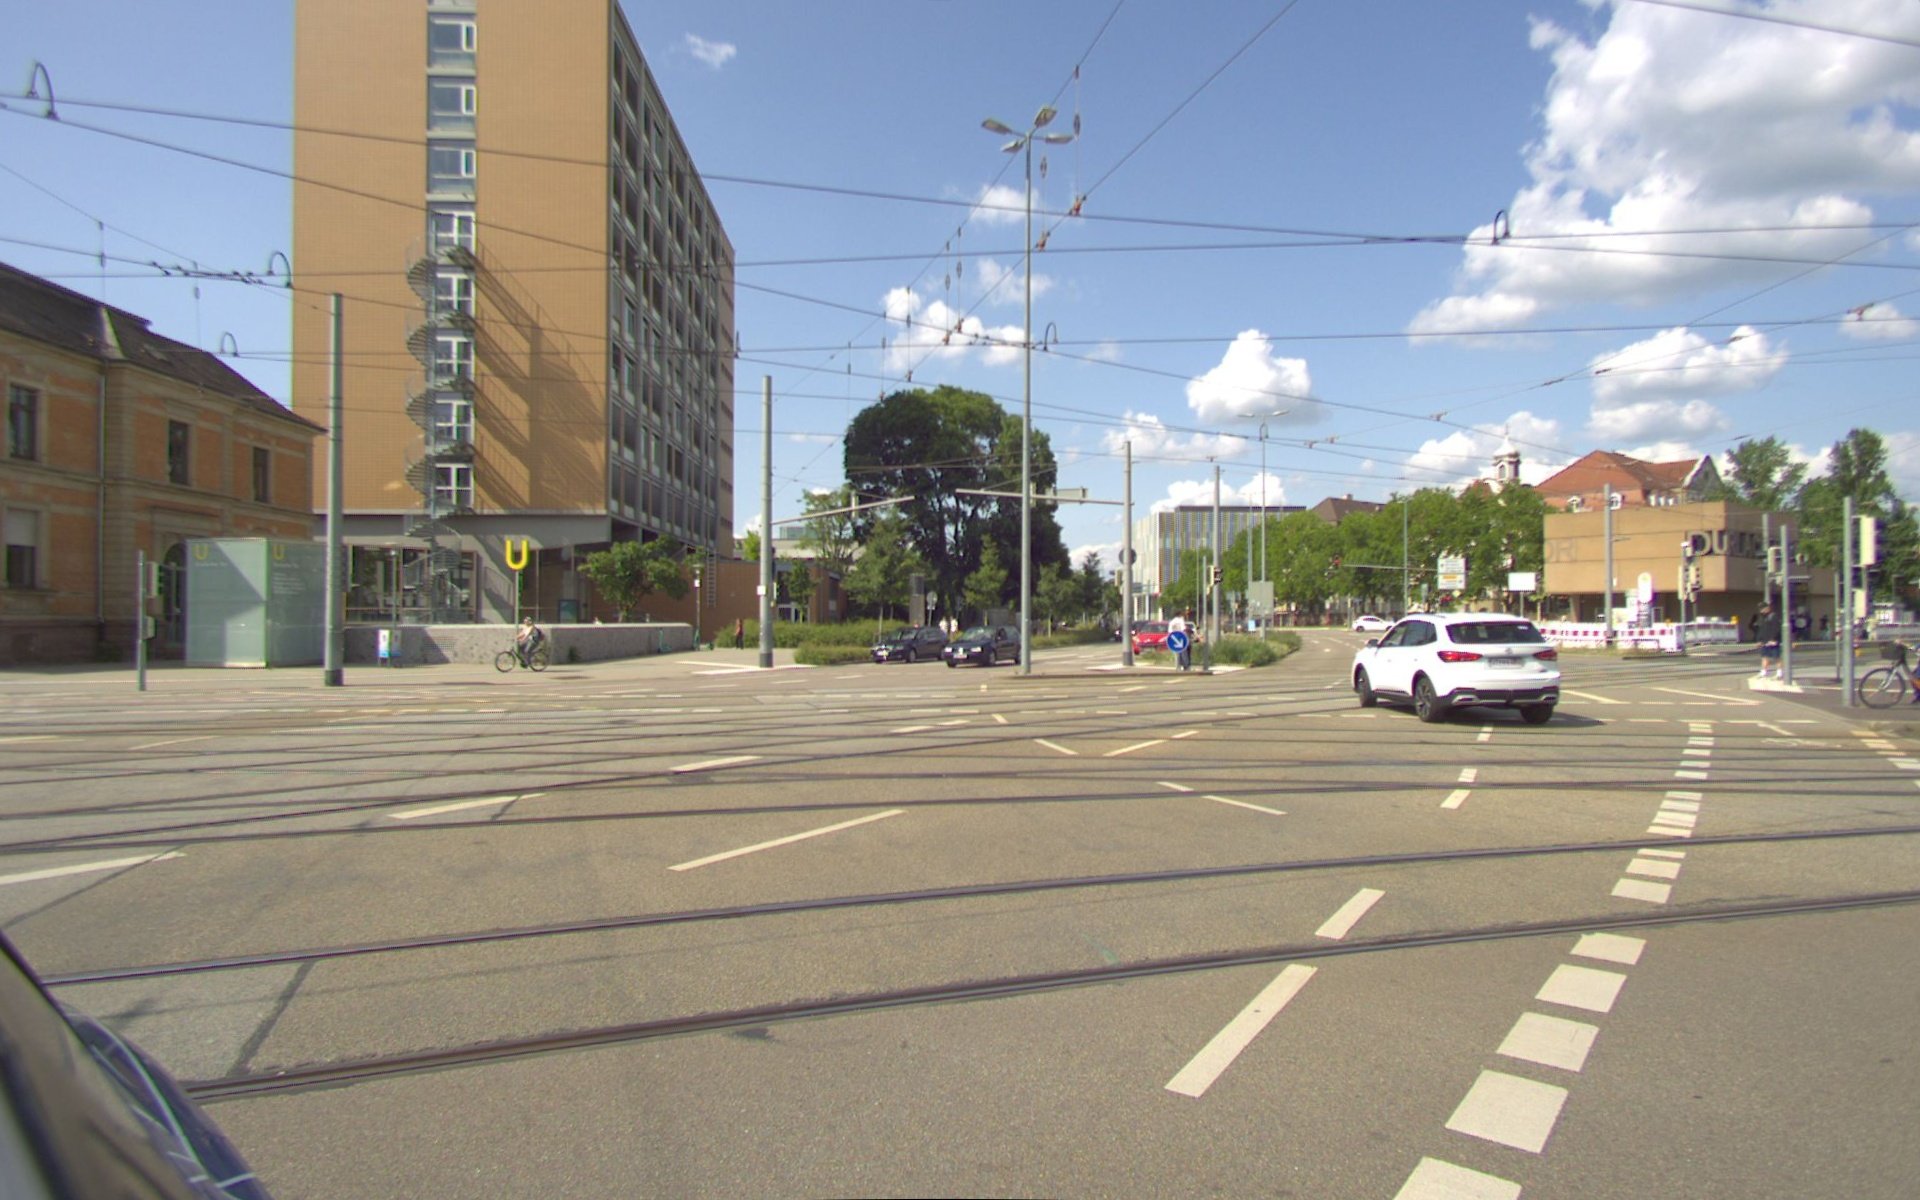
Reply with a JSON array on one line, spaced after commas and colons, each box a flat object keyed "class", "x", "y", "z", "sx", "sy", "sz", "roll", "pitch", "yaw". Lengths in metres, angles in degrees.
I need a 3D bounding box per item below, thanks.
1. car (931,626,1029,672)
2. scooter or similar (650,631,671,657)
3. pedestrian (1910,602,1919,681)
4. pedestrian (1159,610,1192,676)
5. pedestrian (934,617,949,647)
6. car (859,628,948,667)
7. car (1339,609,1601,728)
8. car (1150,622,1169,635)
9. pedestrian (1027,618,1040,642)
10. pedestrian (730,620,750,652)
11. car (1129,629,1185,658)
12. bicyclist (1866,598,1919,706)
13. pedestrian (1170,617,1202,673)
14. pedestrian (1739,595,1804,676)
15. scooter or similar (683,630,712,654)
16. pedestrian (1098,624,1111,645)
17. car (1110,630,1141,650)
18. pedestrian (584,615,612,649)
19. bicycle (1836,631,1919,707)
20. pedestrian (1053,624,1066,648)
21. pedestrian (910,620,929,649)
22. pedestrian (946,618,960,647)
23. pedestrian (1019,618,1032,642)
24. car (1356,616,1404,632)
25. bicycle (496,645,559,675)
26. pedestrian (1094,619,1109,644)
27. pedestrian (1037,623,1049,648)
[{"class": "car", "x": 0.772, "y": 1.696, "z": 35.681, "sx": 1.819, "sy": 1.474, "sz": 3.960, "roll": -2, "pitch": -2, "yaw": 29}, {"class": "scooter or similar", "x": -13.570, "y": 1.977, "z": 45.898, "sx": 0.460, "sy": 1.126, "sz": 1.445, "roll": 1, "pitch": -1, "yaw": 3}, {"class": "pedestrian", "x": 22.252, "y": 0.929, "z": 22.902, "sx": 0.764, "sy": 1.811, "sz": 1.018, "roll": -3, "pitch": -2, "yaw": 28}, {"class": "pedestrian", "x": 6.396, "y": 1.267, "z": 30.031, "sx": 0.845, "sy": 1.931, "sz": 0.687, "roll": 0, "pitch": -1, "yaw": 23}, {"class": "pedestrian", "x": -1.125, "y": 1.919, "z": 60.941, "sx": 0.610, "sy": 1.713, "sz": 0.885, "roll": 2, "pitch": 0, "yaw": 17}, {"class": "car", "x": -2.285, "y": 1.929, "z": 41.794, "sx": 1.819, "sy": 1.474, "sz": 3.960, "roll": -2, "pitch": -2, "yaw": 29}, {"class": "car", "x": 7.889, "y": 1.002, "z": 16.208, "sx": 2.015, "sy": 1.651, "sz": 4.286, "roll": 0, "pitch": -2, "yaw": 1}, {"class": "car", "x": 22.396, "y": 3.185, "z": 113.616, "sx": 1.892, "sy": 1.446, "sz": 4.083, "roll": -1, "pitch": -2, "yaw": 14}, {"class": "pedestrian", "x": 5.618, "y": 2.284, "z": 77.094, "sx": 0.738, "sy": 1.767, "sz": 0.884, "roll": 2, "pitch": 0, "yaw": 17}, {"class": "pedestrian", "x": -11.685, "y": 1.912, "z": 53.730, "sx": 0.878, "sy": 1.634, "sz": 0.615, "roll": 2, "pitch": 0, "yaw": 6}, {"class": "car", "x": 8.707, "y": 1.912, "z": 44.507, "sx": 1.589, "sy": 1.142, "sz": 3.599, "roll": -3, "pitch": -2, "yaw": 24}, {"class": "bicyclist", "x": 15.959, "y": 0.847, "z": 16.637, "sx": 1.292, "sy": 1.744, "sz": 0.988, "roll": 0, "pitch": -1, "yaw": 21}, {"class": "pedestrian", "x": 6.876, "y": 1.351, "z": 30.742, "sx": 0.845, "sy": 1.660, "sz": 0.687, "roll": 0, "pitch": -1, "yaw": 23}, {"class": "pedestrian", "x": 19.689, "y": 0.854, "z": 24.569, "sx": 0.755, "sy": 1.917, "sz": 0.828, "roll": -2, "pitch": -2, "yaw": -8}, {"class": "scooter or similar", "x": -12.718, "y": 2.042, "z": 49.042, "sx": 1.295, "sy": 1.112, "sz": 0.467, "roll": 2, "pitch": -2, "yaw": -23}, {"class": "pedestrian", "x": 12.475, "y": 2.992, "z": 87.118, "sx": 0.921, "sy": 1.748, "sz": 0.763, "roll": -3, "pitch": -2, "yaw": 20}, {"class": "car", "x": 13.005, "y": 3.091, "z": 79.282, "sx": 1.811, "sy": 1.474, "sz": 3.977, "roll": -1, "pitch": -2, "yaw": 17}, {"class": "pedestrian", "x": -17.726, "y": 1.547, "z": 49.559, "sx": 0.614, "sy": 1.634, "sz": 1.084, "roll": 2, "pitch": 0, "yaw": 34}, {"class": "bicycle", "x": 16.030, "y": 1.122, "z": 16.603, "sx": 2.284, "sy": 1.197, "sz": 0.988, "roll": 0, "pitch": -1, "yaw": 21}, {"class": "pedestrian", "x": 7.257, "y": 2.616, "z": 73.797, "sx": 0.761, "sy": 1.748, "sz": 0.716, "roll": -2, "pitch": -2, "yaw": 14}, {"class": "pedestrian", "x": -2.314, "y": 1.955, "z": 58.118, "sx": 0.615, "sy": 1.634, "sz": 0.878, "roll": 2, "pitch": 0, "yaw": 37}, {"class": "pedestrian", "x": -0.414, "y": 1.962, "z": 60.709, "sx": 0.610, "sy": 1.713, "sz": 0.885, "roll": 2, "pitch": 0, "yaw": 17}, {"class": "pedestrian", "x": 5.028, "y": 2.276, "z": 77.362, "sx": 0.738, "sy": 1.759, "sz": 0.885, "roll": 2, "pitch": 0, "yaw": 17}, {"class": "car", "x": 38.672, "y": 2.202, "z": 93.188, "sx": 3.971, "sy": 1.364, "sz": 1.767, "roll": -2, "pitch": -2, "yaw": 21}, {"class": "bicycle", "x": -14.015, "y": 1.943, "z": 32.844, "sx": 0.648, "sy": 0.887, "sz": 1.799, "roll": -1, "pitch": -1, "yaw": 38}, {"class": "pedestrian", "x": 11.831, "y": 2.606, "z": 84.619, "sx": 0.958, "sy": 2.029, "sz": 0.763, "roll": -3, "pitch": -2, "yaw": 21}, {"class": "pedestrian", "x": 6.075, "y": 2.604, "z": 74.027, "sx": 0.761, "sy": 1.748, "sz": 0.716, "roll": -2, "pitch": -2, "yaw": 14}]
